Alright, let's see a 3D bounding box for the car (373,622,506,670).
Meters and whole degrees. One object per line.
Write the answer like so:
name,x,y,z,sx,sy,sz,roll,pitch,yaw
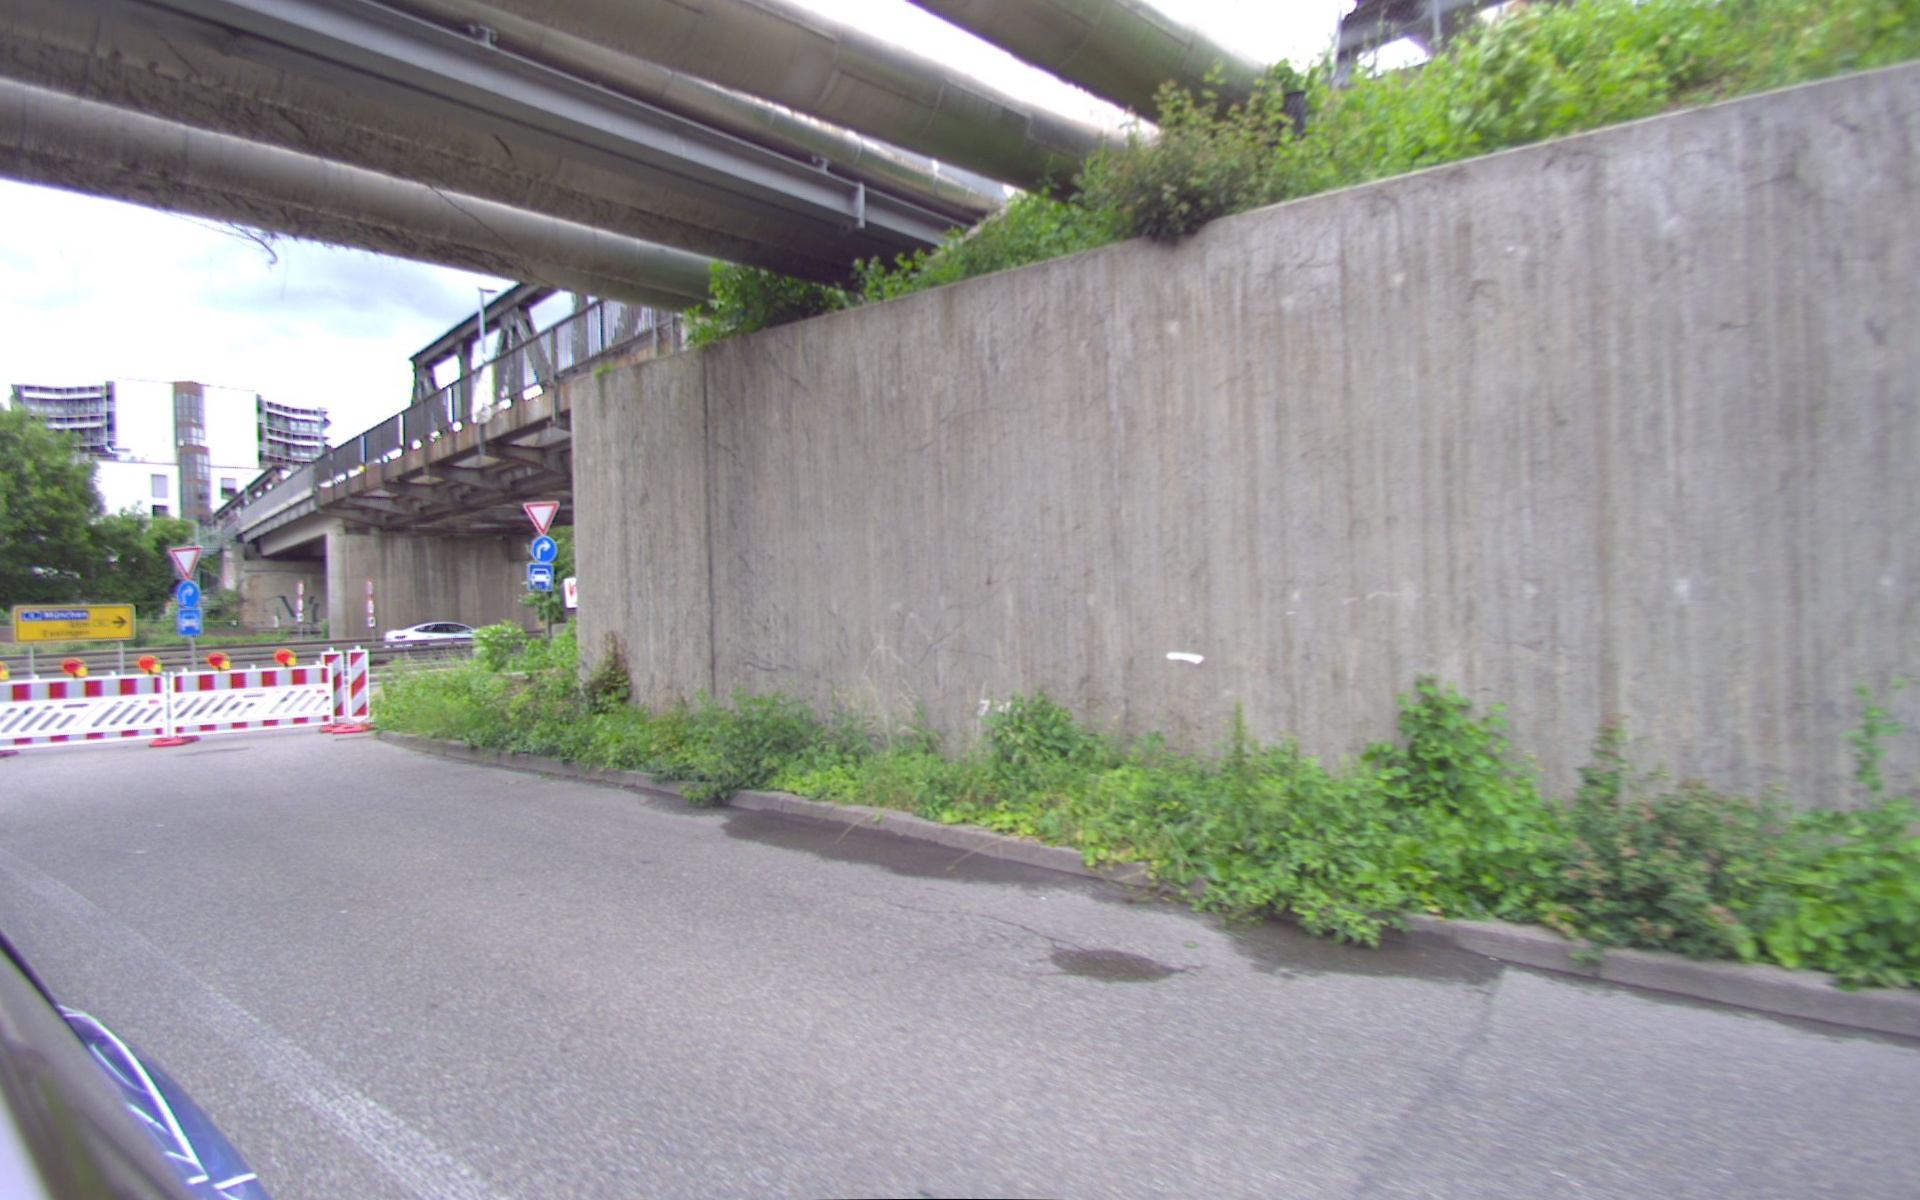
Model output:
car,-21.270,1.823,41.507,1.998,1.553,4.401,0,3,40
